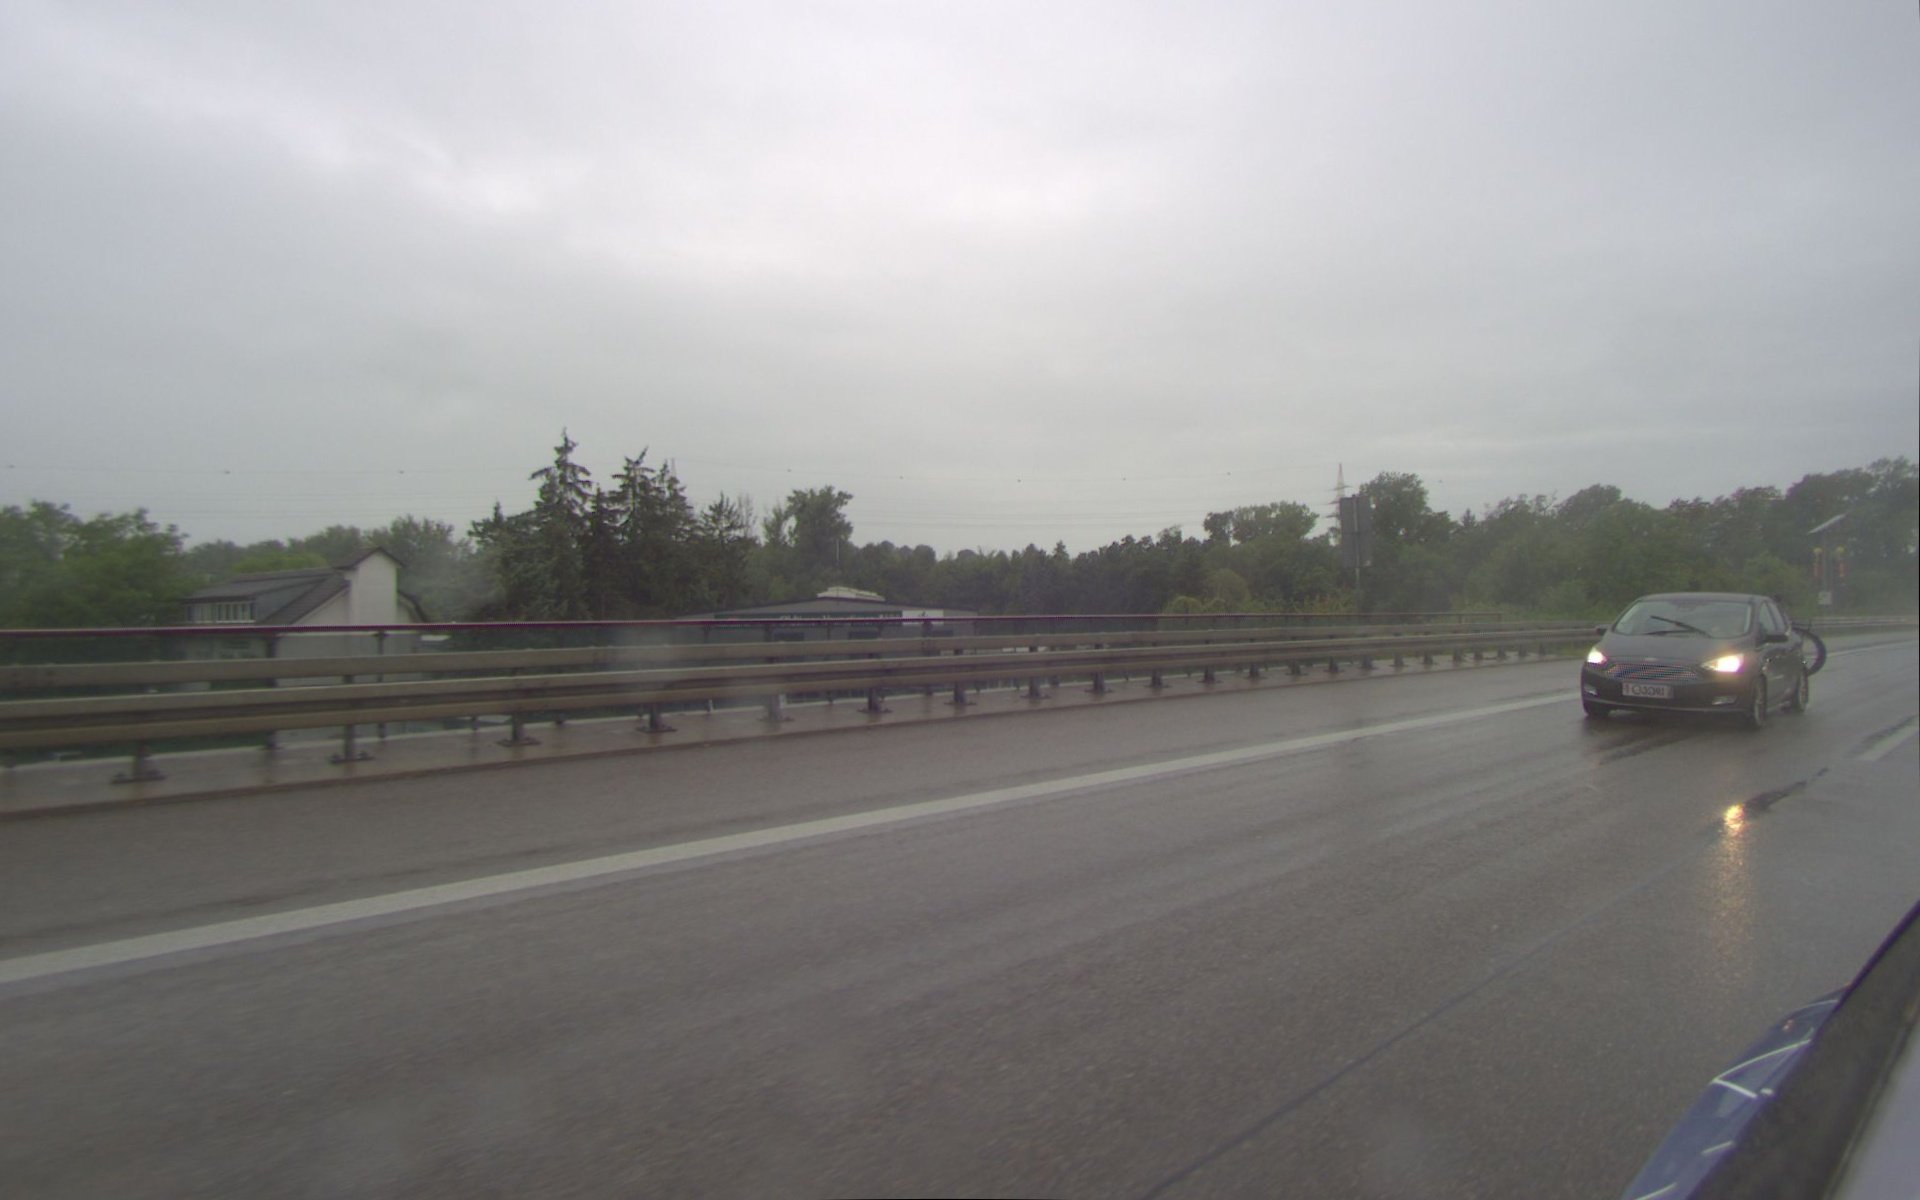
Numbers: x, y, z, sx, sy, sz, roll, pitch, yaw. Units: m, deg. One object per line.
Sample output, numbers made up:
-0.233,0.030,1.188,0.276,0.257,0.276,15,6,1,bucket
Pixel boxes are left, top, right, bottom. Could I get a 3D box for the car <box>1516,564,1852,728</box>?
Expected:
9.914,0.484,13.649,5.619,1.768,2.462,0,0,-41,car
